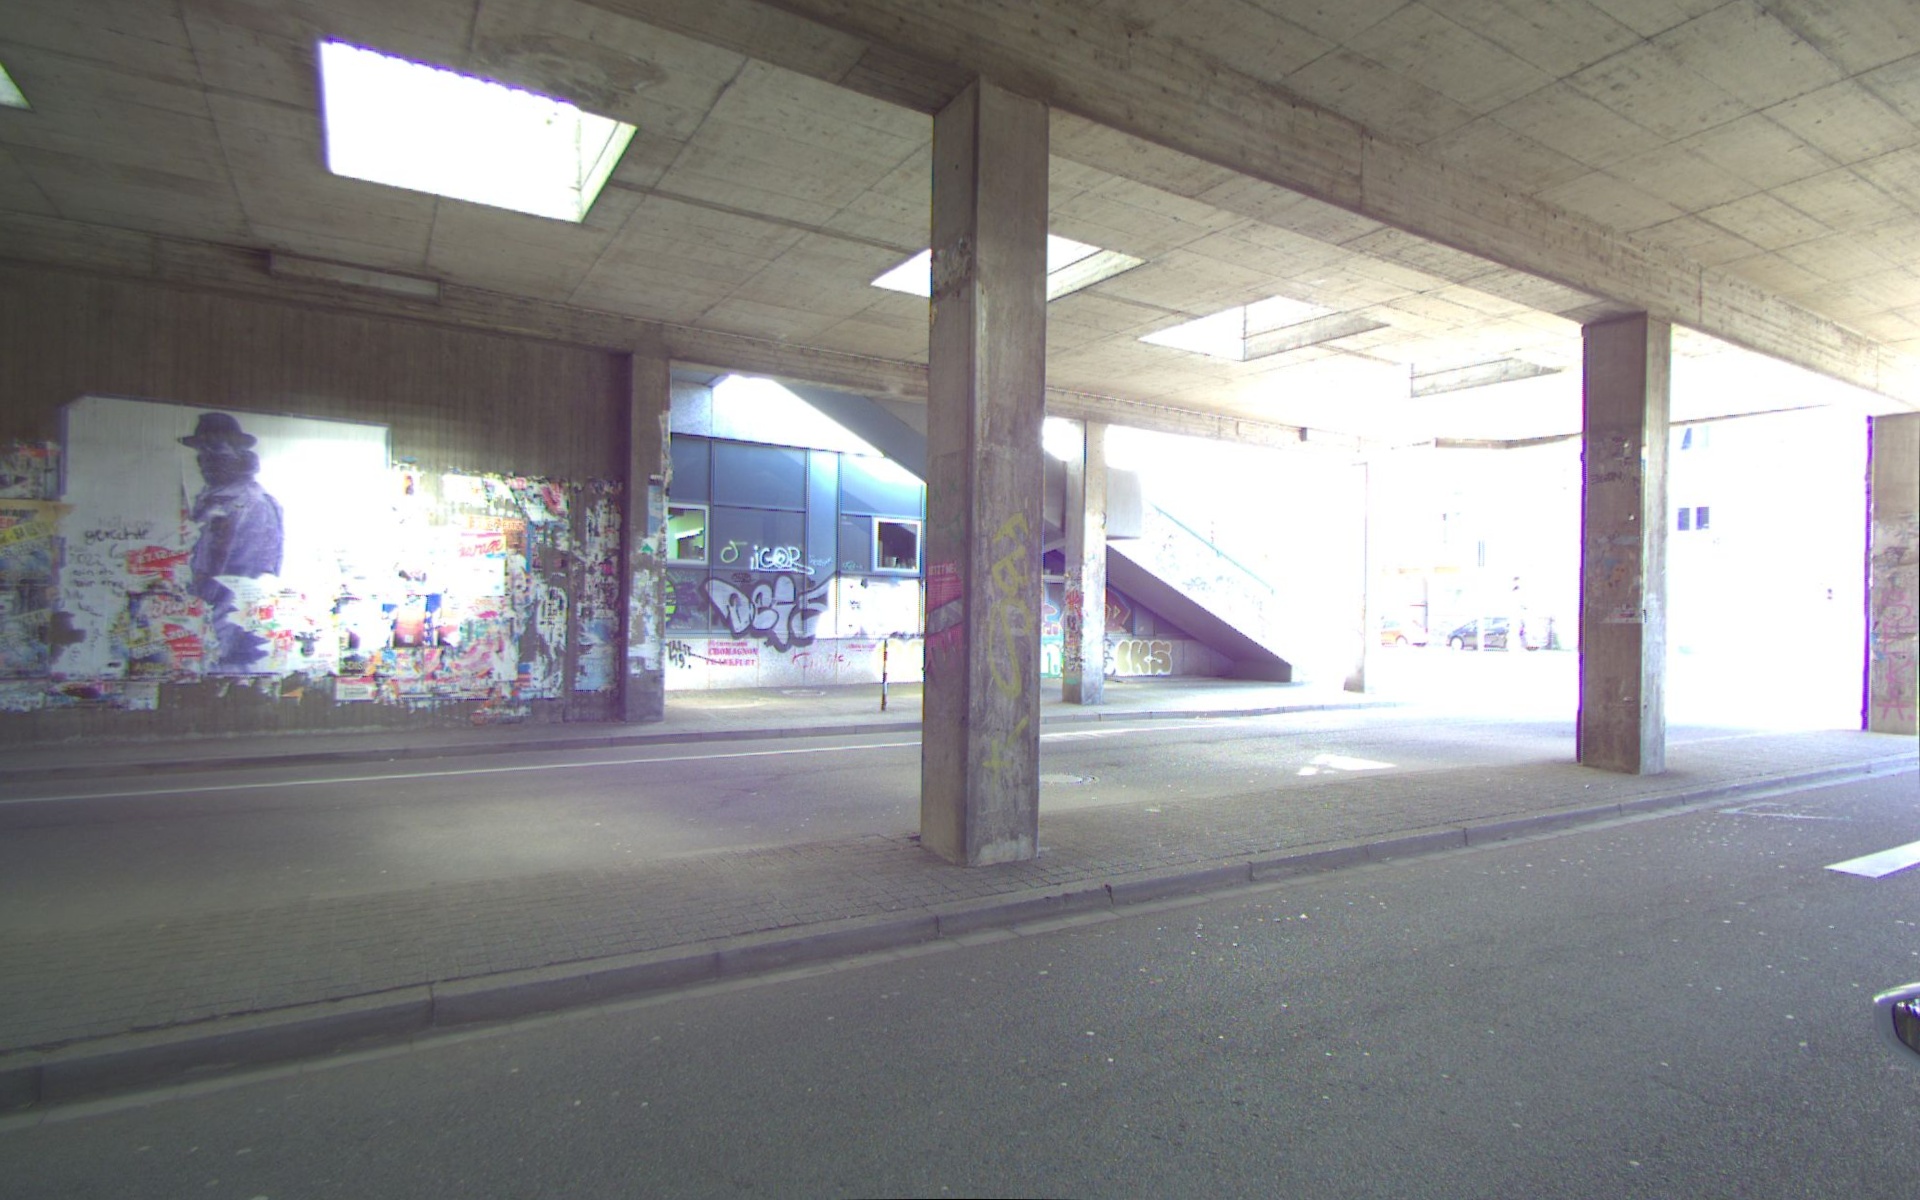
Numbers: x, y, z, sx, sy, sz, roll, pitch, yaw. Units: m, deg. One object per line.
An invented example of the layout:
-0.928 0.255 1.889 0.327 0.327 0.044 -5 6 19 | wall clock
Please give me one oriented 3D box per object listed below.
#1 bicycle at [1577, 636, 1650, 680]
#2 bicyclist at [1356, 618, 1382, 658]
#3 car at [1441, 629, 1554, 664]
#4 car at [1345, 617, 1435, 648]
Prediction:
18.654 1.645 28.711 0.470 1.133 1.734 2 0 -26 | bicycle
14.708 1.374 36.126 0.446 1.394 0.743 2 0 -27 | bicyclist
25.467 2.161 47.715 1.905 1.428 4.382 2 0 -32 | car
22.501 1.700 52.640 1.905 1.428 3.965 2 0 -32 | car
